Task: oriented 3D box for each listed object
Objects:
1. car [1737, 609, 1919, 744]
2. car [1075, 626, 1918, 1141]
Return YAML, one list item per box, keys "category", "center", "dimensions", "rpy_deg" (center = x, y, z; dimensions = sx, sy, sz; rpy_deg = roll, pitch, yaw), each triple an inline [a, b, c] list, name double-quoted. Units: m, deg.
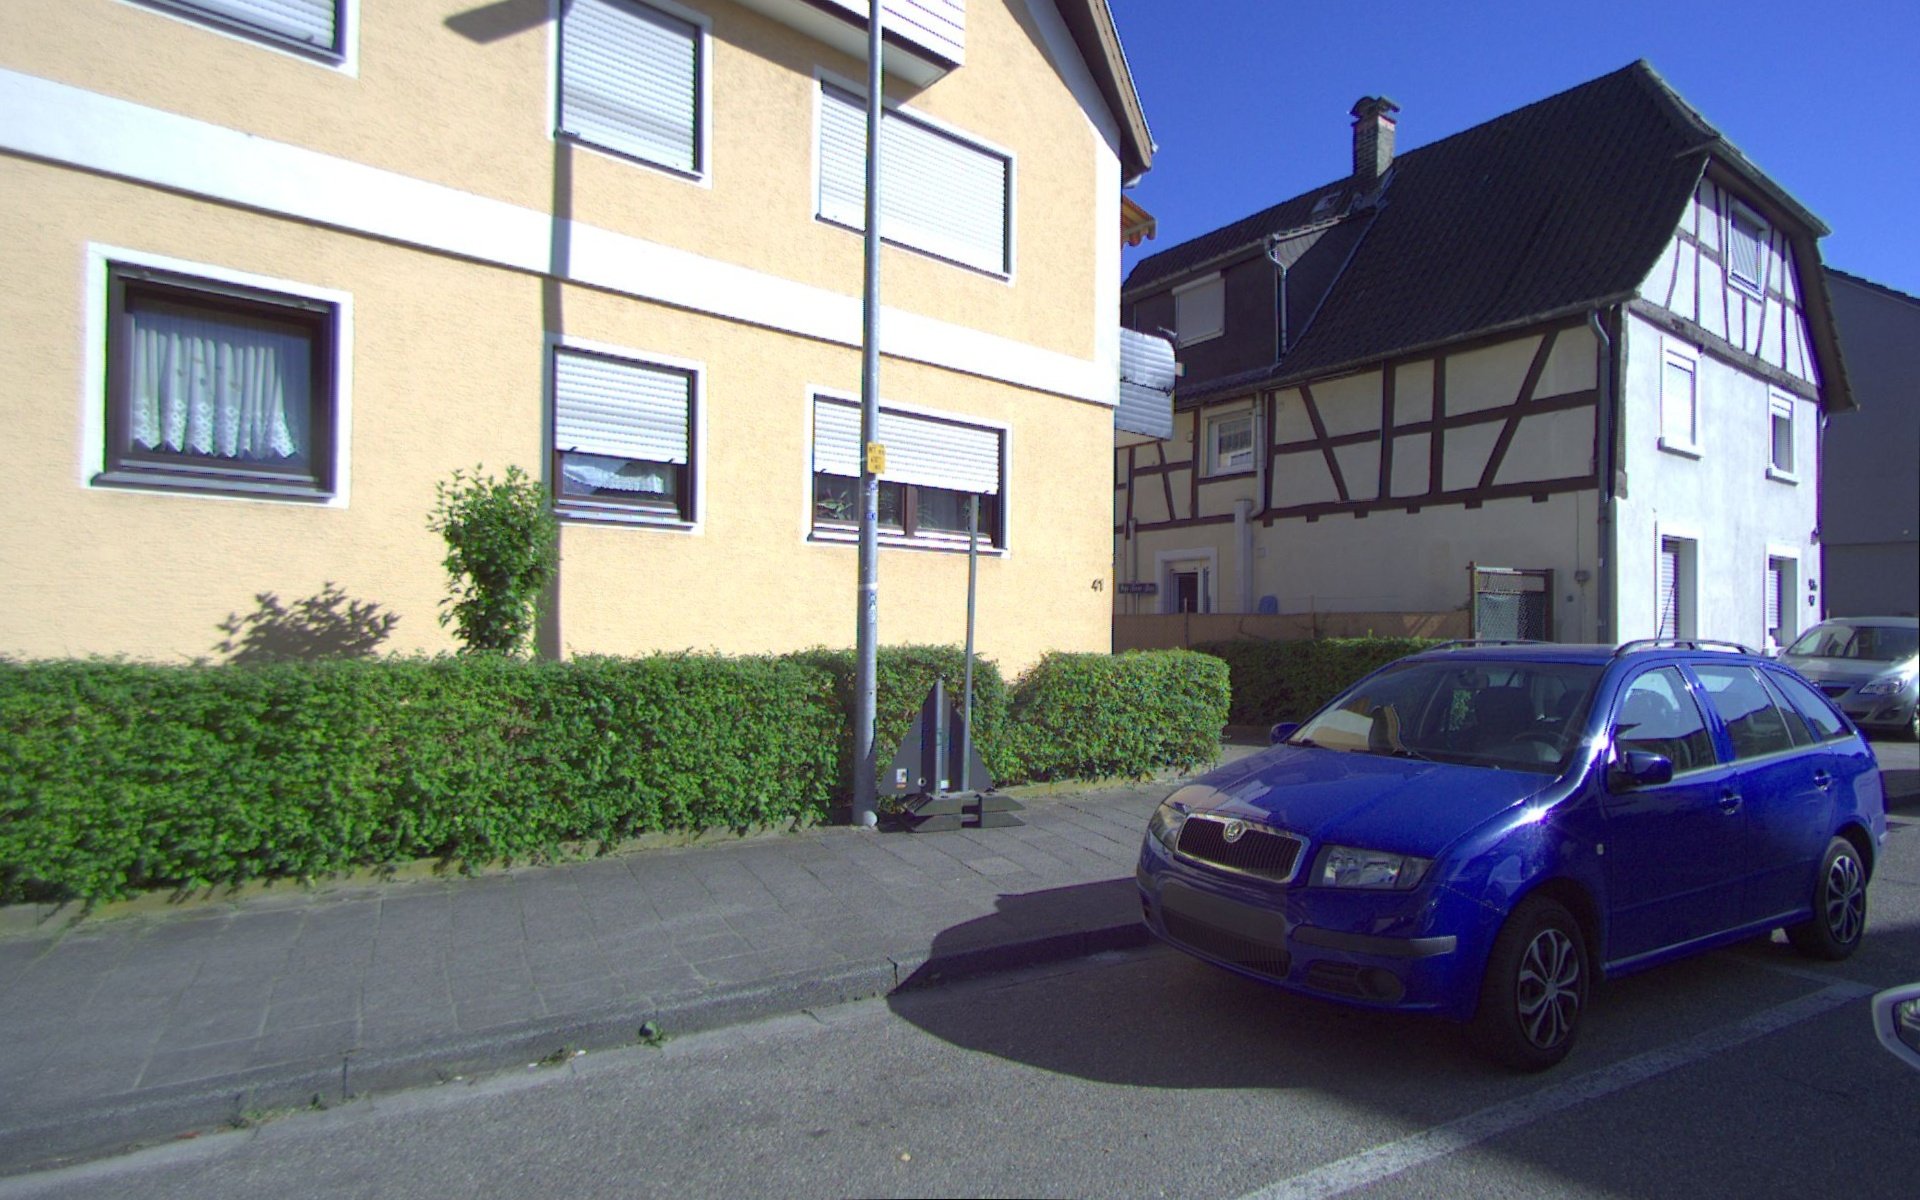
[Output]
- category: "car"
  center: [12.794, 0.968, 14.123]
  dimensions: [3.972, 1.617, 1.712]
  rpy_deg: [1, 0, -33]
- category: "car"
  center: [2.617, 0.895, 4.641]
  dimensions: [4.029, 1.460, 1.630]
  rpy_deg: [2, -3, -32]
